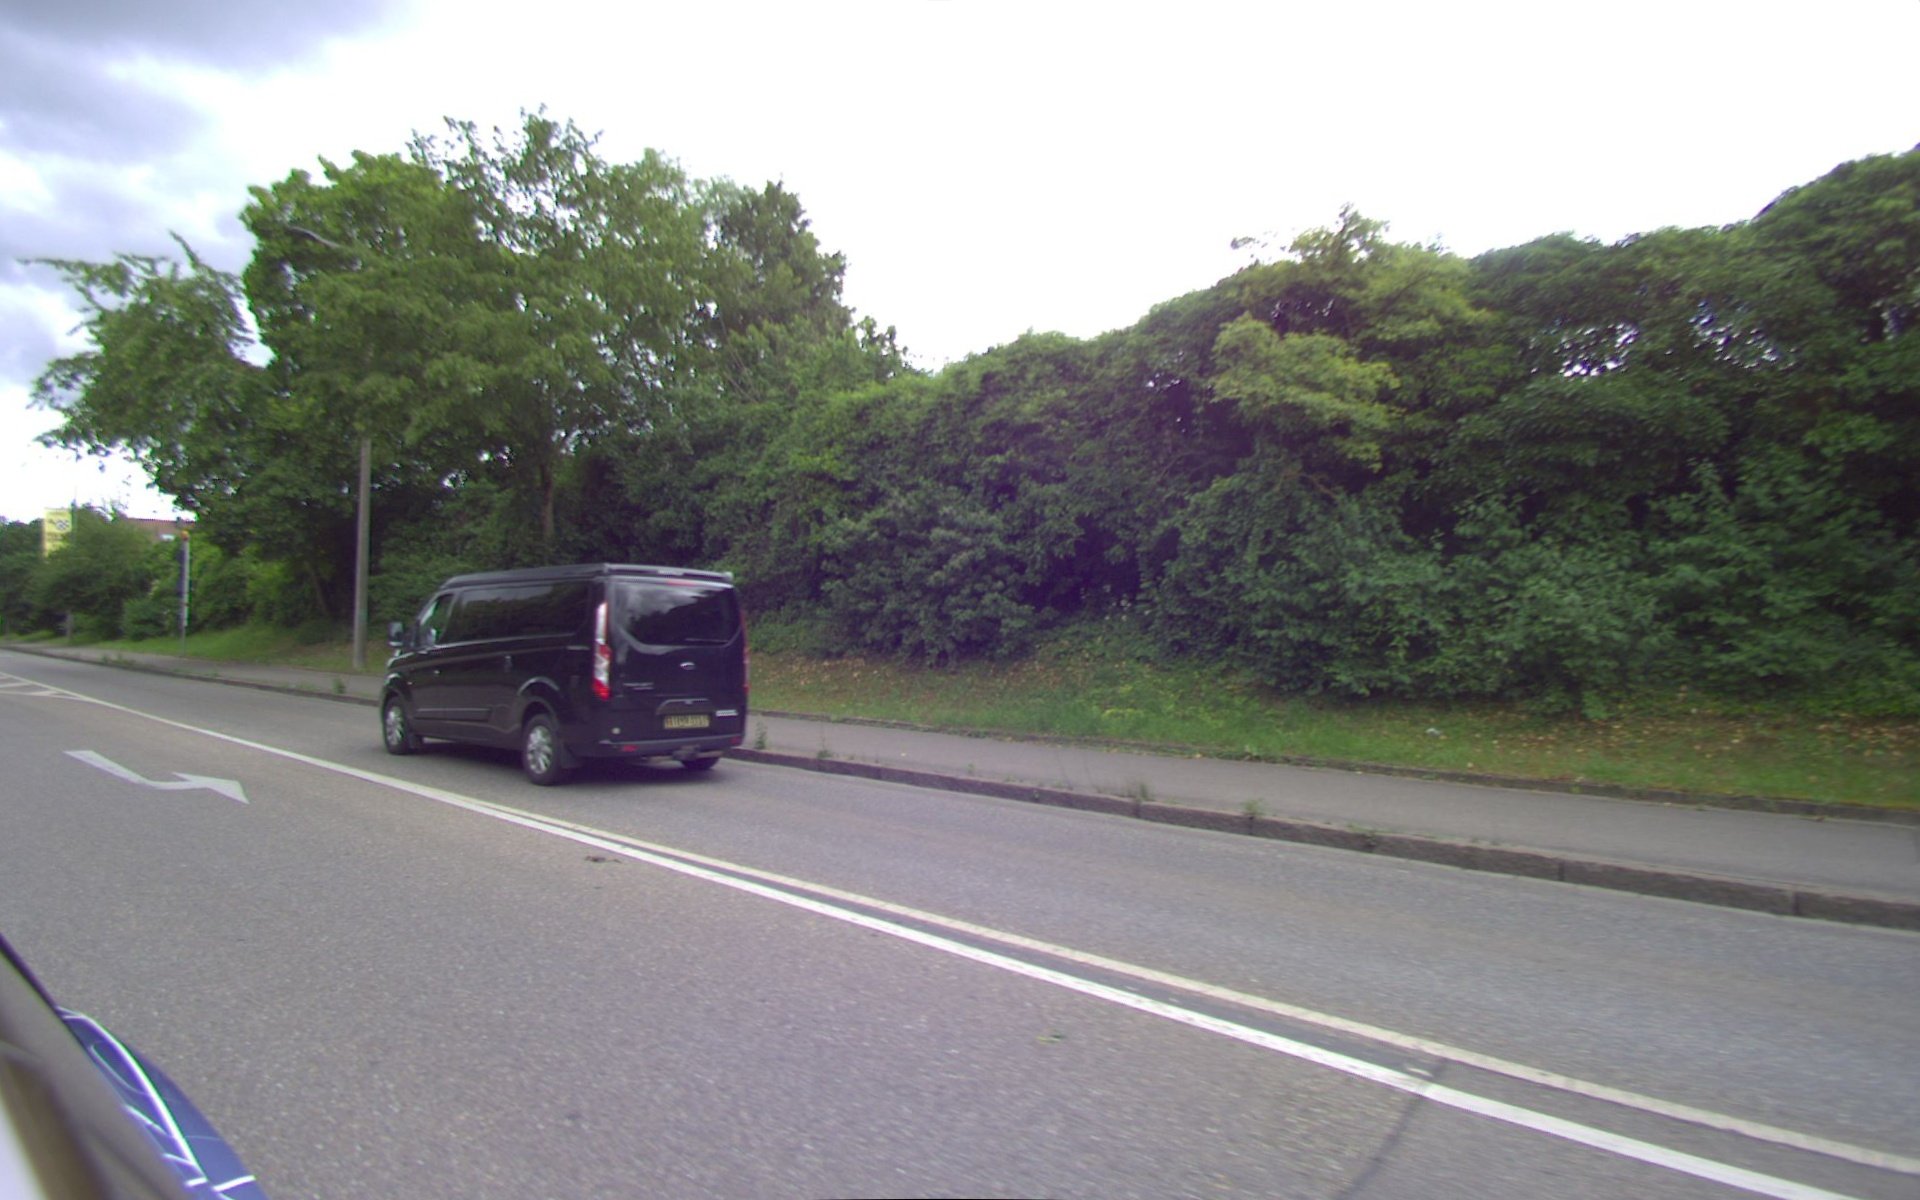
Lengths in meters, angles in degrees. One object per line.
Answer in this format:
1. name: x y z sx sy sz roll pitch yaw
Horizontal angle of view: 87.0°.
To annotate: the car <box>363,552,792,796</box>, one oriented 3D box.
1. car: -4.292 0.700 10.911 5.110 2.052 1.974 -1 -3 39
